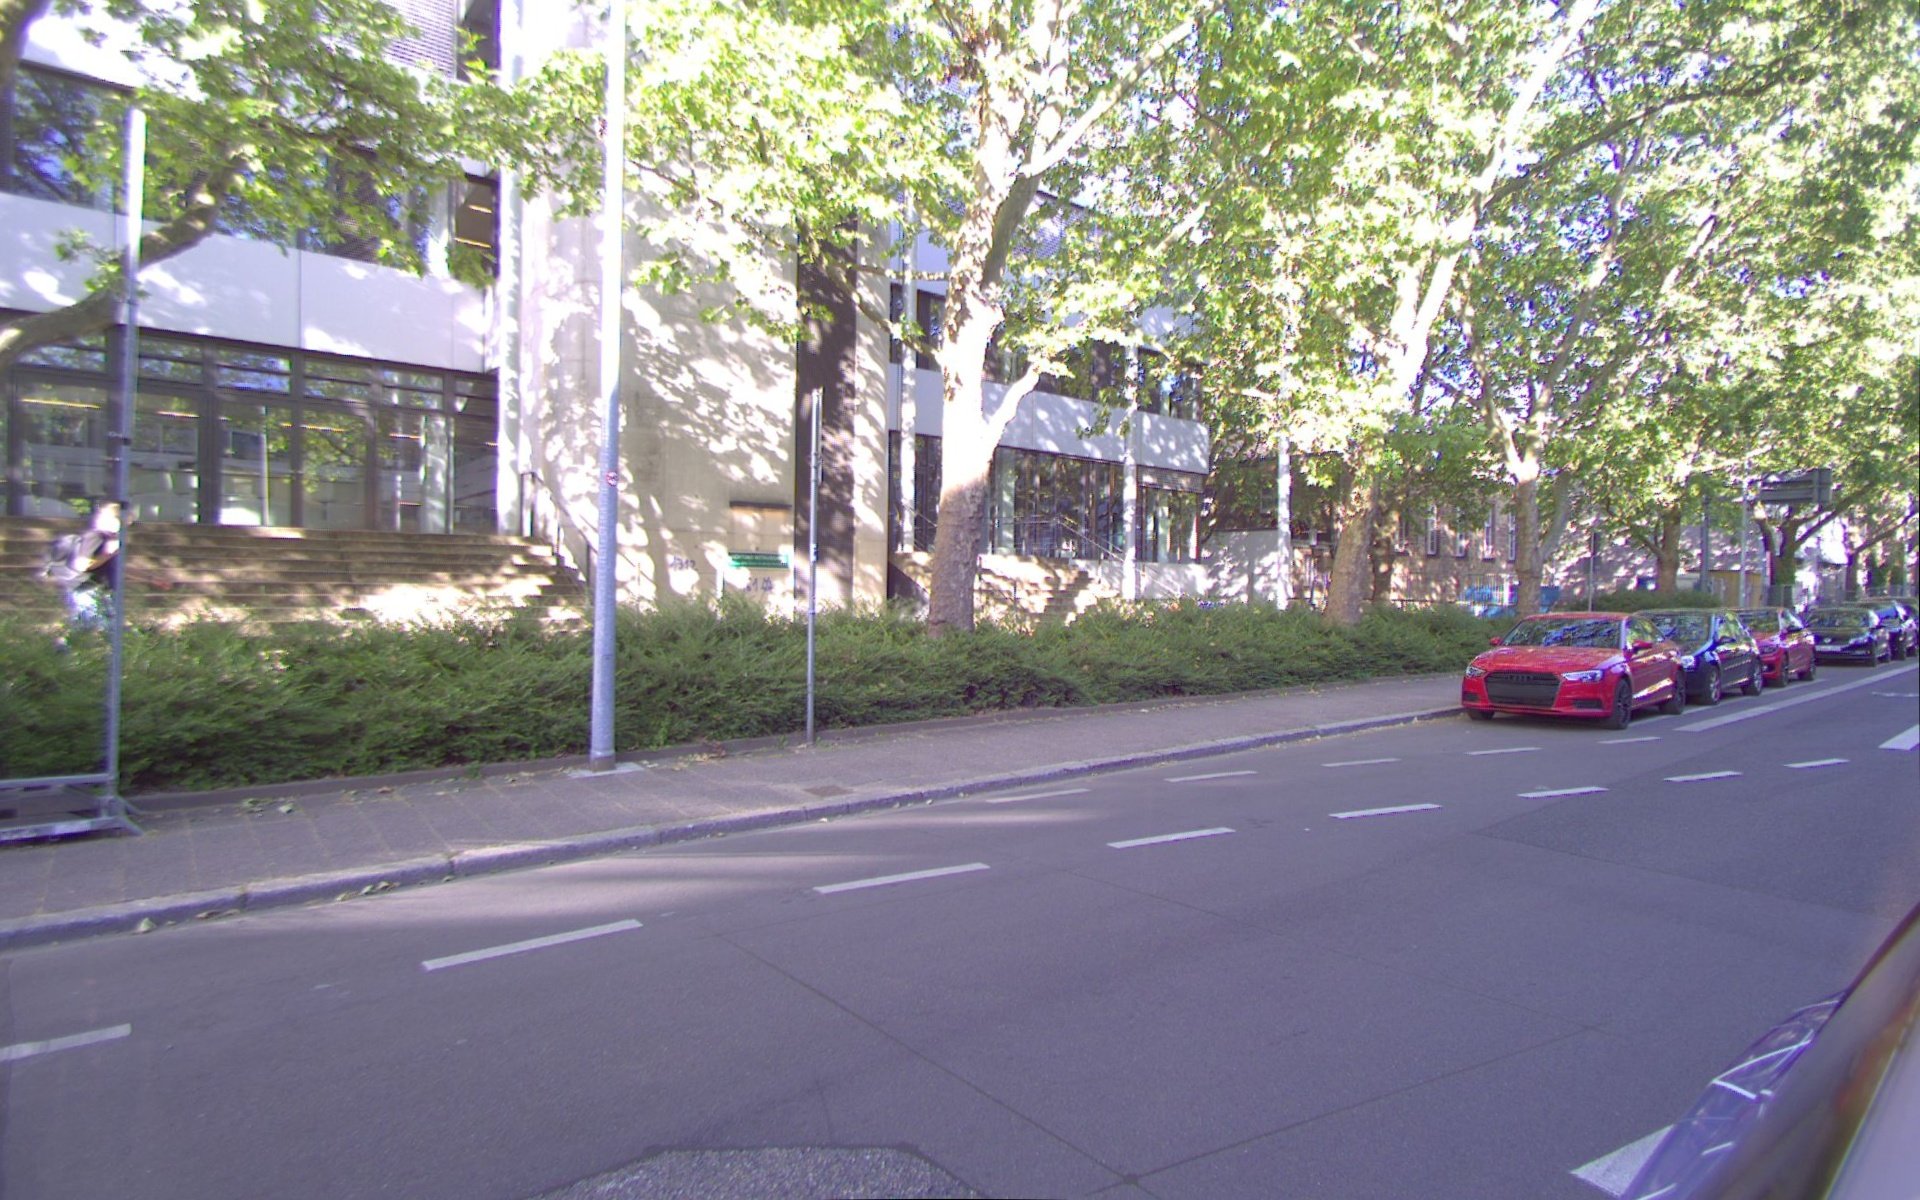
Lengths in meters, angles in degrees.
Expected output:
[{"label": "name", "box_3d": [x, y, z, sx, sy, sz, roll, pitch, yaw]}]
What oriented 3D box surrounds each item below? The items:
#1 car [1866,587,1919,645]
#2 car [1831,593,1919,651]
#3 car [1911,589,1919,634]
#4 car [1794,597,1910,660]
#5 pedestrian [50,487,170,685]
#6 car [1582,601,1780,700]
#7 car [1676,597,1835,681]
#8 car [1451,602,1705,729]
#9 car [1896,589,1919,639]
[{"label": "car", "box_3d": [31.057, 0.489, 33.011, 4.271, 1.777, 1.788, 0, -1, -42]}, {"label": "car", "box_3d": [26.596, 0.589, 29.128, 4.092, 1.573, 1.788, 0, -1, -42]}, {"label": "car", "box_3d": [39.627, 0.439, 40.397, 4.475, 1.777, 2.040, 0, -1, -42]}, {"label": "car", "box_3d": [23.051, 0.679, 26.097, 4.092, 1.478, 1.788, 0, -1, -42]}, {"label": "pedestrian", "box_3d": [-8.237, -0.133, 9.808, 0.848, 1.803, 0.785, 0, 0, -42]}, {"label": "car", "box_3d": [11.953, 0.738, 16.683, 4.092, 1.431, 1.815, 0, -1, -42]}, {"label": "car", "box_3d": [15.859, 0.700, 20.104, 4.092, 1.502, 1.815, 0, -1, -42]}, {"label": "car", "box_3d": [8.360, 0.752, 13.543, 4.092, 1.431, 1.815, 0, -1, -42]}, {"label": "car", "box_3d": [35.922, 0.483, 37.232, 4.475, 1.777, 1.788, 0, -1, -42]}]
